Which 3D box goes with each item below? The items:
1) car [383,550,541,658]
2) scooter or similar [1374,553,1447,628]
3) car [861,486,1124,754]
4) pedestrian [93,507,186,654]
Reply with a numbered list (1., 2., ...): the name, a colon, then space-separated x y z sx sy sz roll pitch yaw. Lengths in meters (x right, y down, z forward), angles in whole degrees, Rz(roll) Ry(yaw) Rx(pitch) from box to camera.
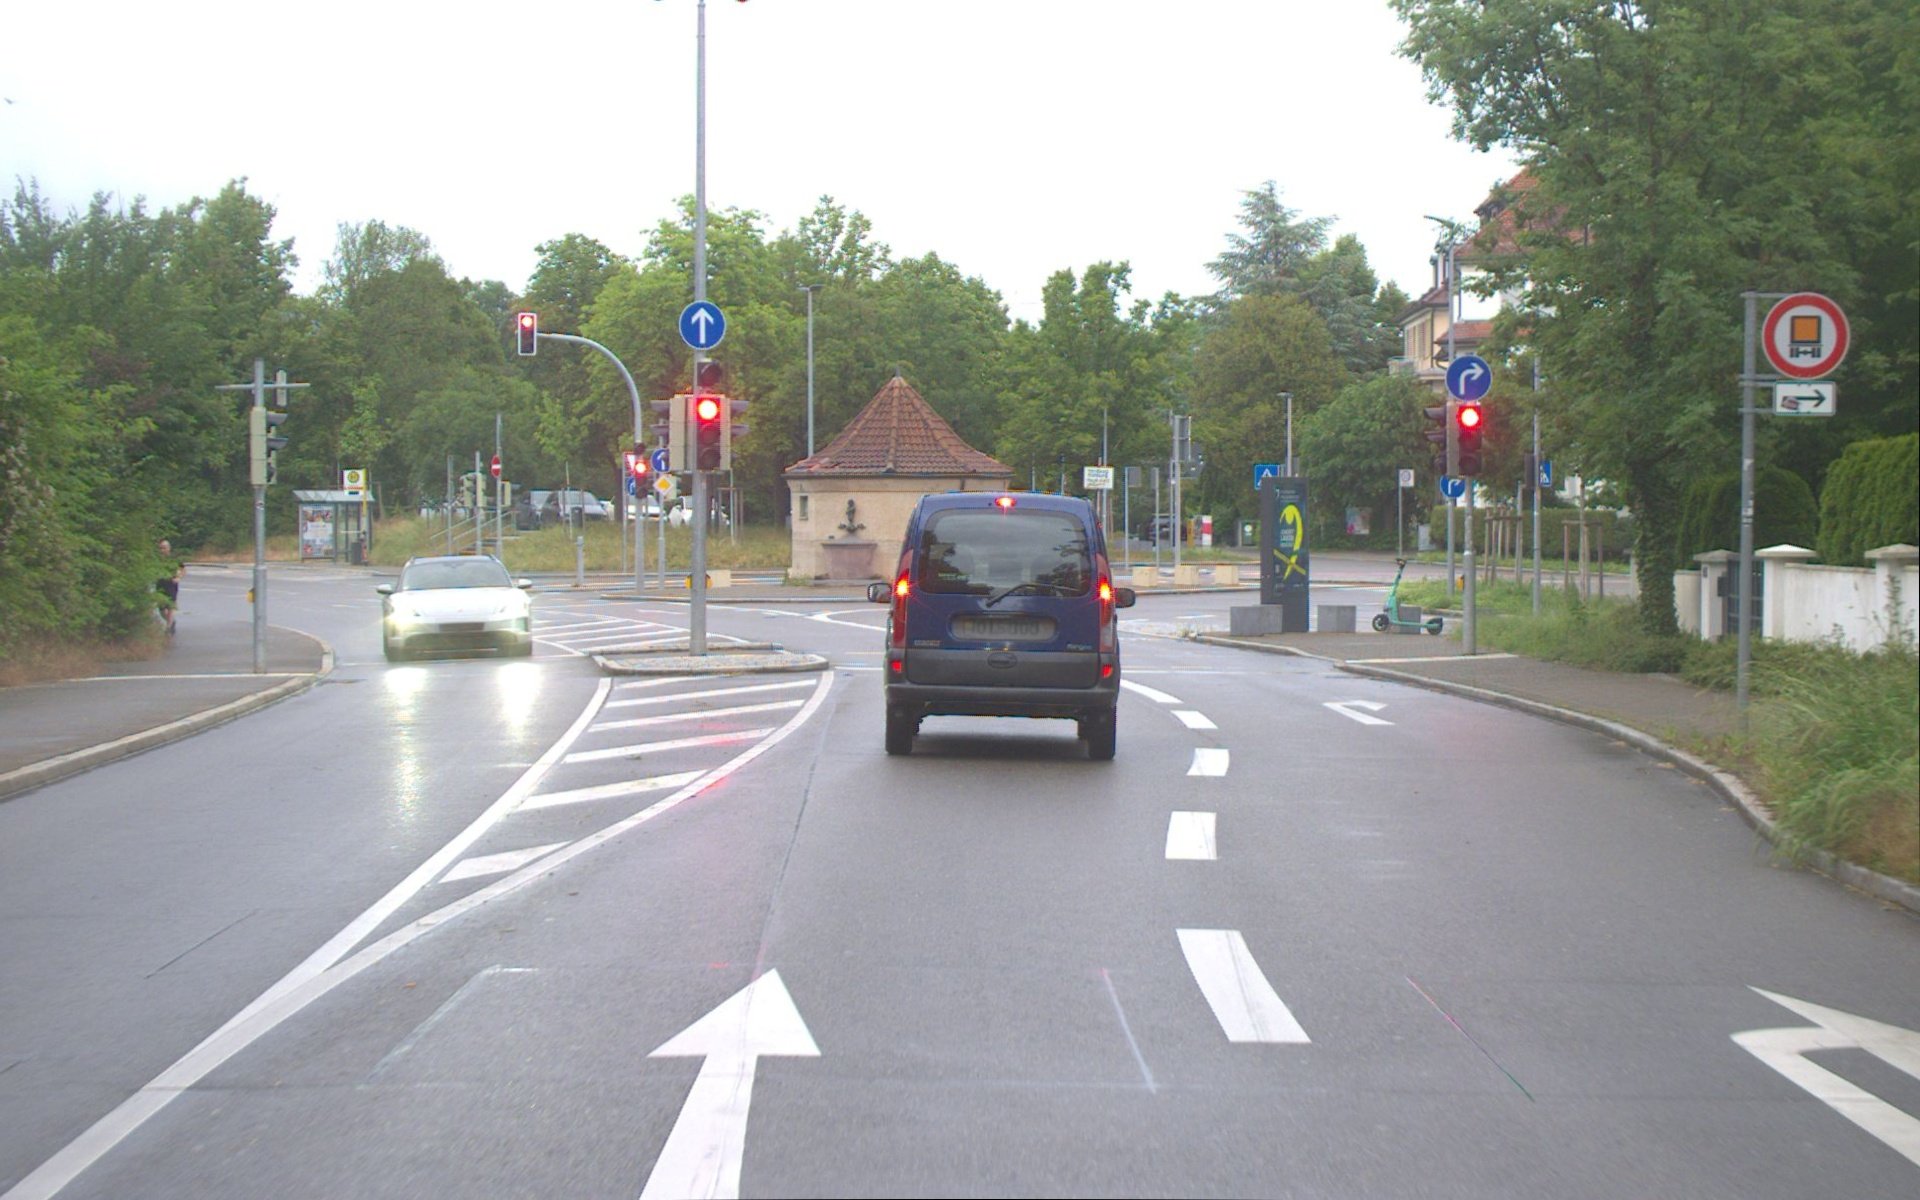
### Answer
1. car: -6.971 0.022 47.820 1.993 1.307 4.361 -3 2 -10
2. scooter or similar: 7.377 -0.152 56.302 1.149 1.215 0.406 0 0 0
3. car: 0.162 0.093 25.100 1.731 1.780 4.001 1 1 -2
4. pedestrian: -11.406 -0.267 47.825 1.088 2.007 1.000 1 0 -4
